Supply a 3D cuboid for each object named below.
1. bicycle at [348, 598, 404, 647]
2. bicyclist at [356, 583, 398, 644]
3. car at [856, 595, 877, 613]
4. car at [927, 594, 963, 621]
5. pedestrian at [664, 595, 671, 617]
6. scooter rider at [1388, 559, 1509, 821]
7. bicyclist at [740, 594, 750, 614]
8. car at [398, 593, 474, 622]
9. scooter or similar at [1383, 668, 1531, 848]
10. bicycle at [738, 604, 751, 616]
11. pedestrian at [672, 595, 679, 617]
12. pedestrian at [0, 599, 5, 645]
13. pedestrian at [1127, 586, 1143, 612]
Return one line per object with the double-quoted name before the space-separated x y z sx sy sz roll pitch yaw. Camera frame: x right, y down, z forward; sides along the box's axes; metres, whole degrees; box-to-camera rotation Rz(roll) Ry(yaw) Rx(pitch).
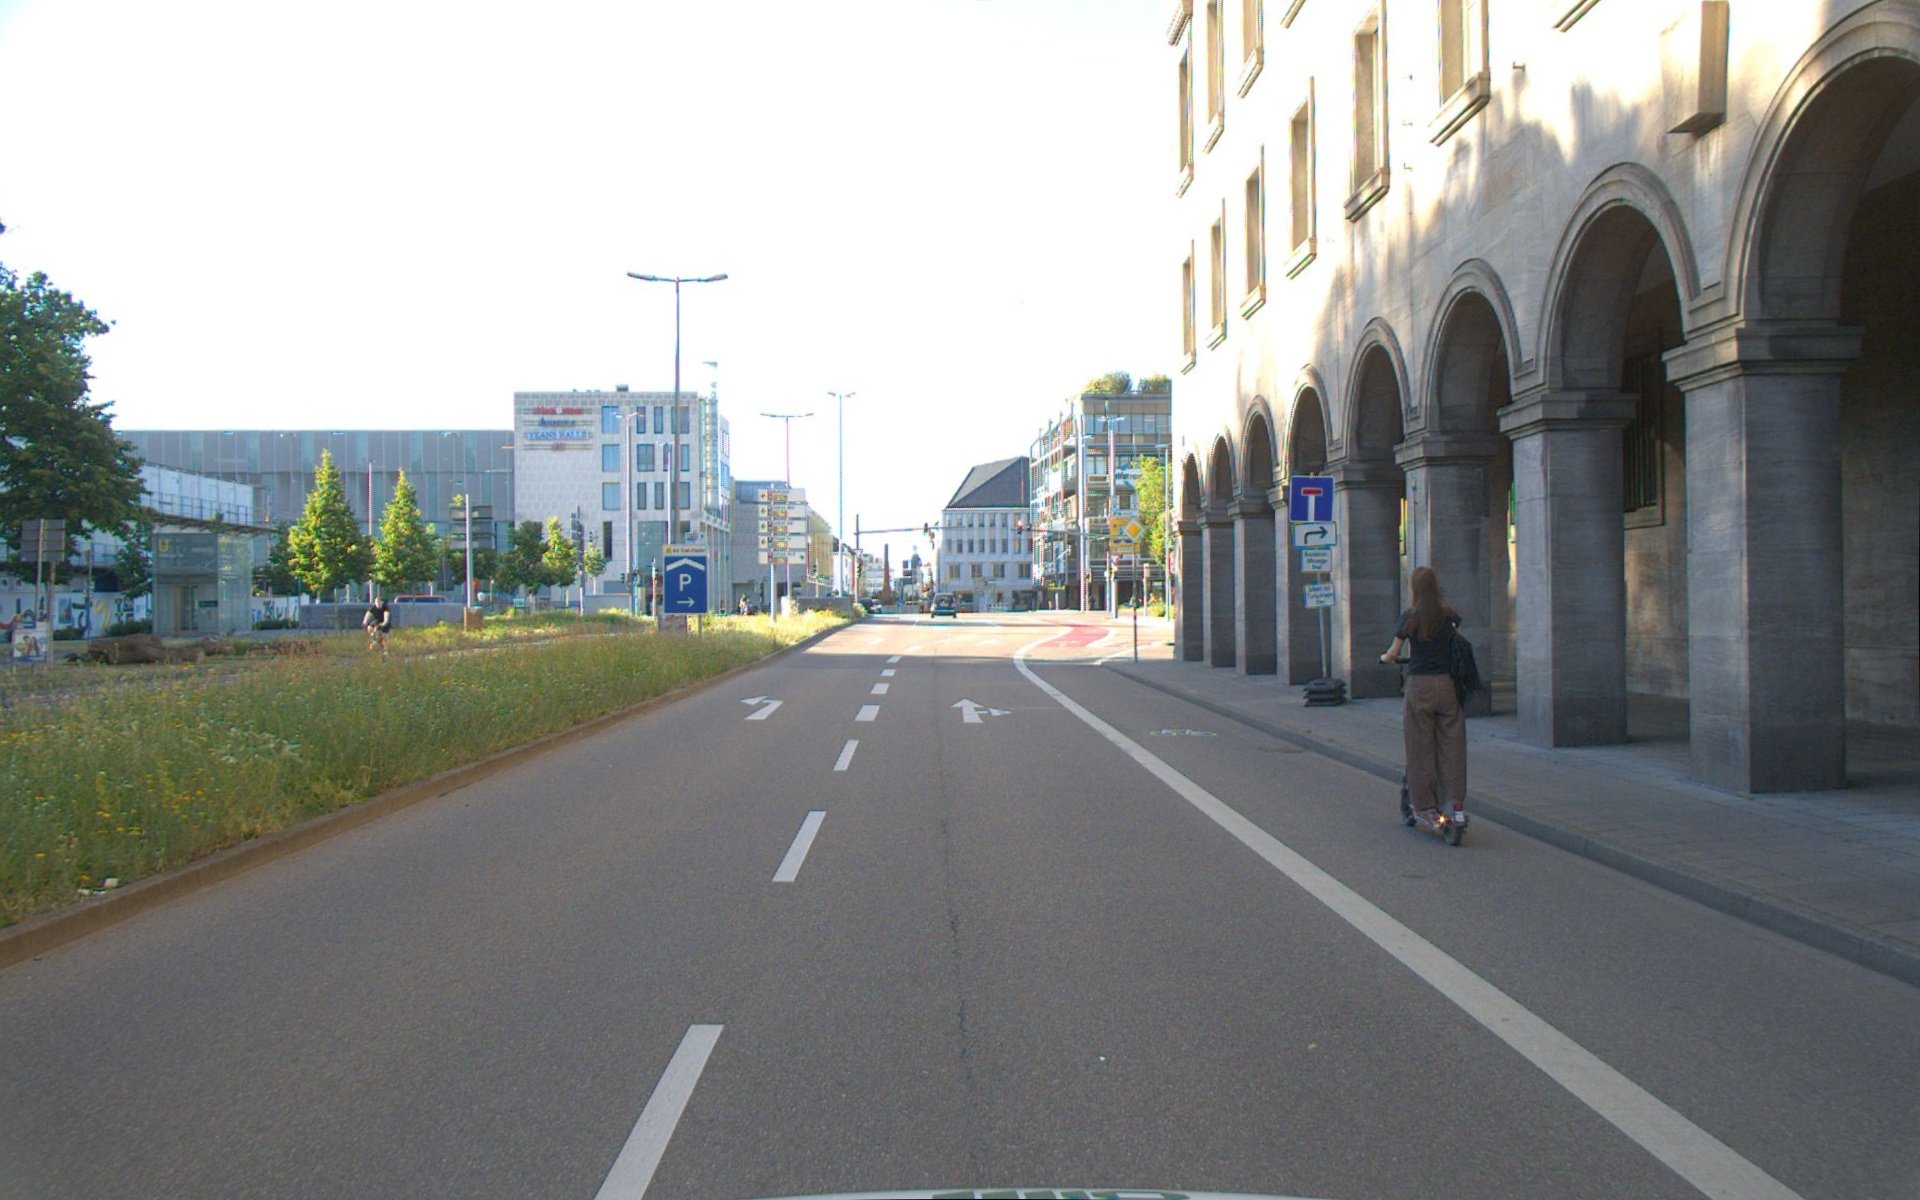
"bicycle" -15.975 0.626 45.314 0.742 1.297 2.257 -1 -2 -1
"bicyclist" -15.981 0.381 45.346 0.732 1.618 1.202 -1 -2 -1
"car" -9.524 0.400 168.355 1.953 1.773 4.646 0 1 -1
"car" -0.960 0.462 103.697 1.743 1.591 3.782 -1 0 -8
"pedestrian" -27.718 0.550 156.487 0.611 2.049 0.515 -1 0 -9
"scooter rider" 3.200 0.572 10.864 0.550 1.660 0.649 -1 0 -4
"bicyclist" -16.373 0.283 125.826 0.594 1.515 0.681 -1 0 4
"car" -35.190 0.516 111.145 4.553 1.842 1.868 -1 -2 -9
"scooter or similar" 3.210 0.997 10.761 0.544 1.049 1.116 -1 0 -5
"bicycle" -16.374 0.731 125.820 0.599 0.877 1.952 -1 0 4
"pedestrian" -26.724 0.605 155.602 0.611 2.049 0.515 -1 0 -9
"pedestrian" -35.695 0.818 60.923 0.568 1.718 0.835 -1 0 -3
"pedestrian" 12.117 -0.061 114.308 0.804 1.779 1.042 -2 -1 21
